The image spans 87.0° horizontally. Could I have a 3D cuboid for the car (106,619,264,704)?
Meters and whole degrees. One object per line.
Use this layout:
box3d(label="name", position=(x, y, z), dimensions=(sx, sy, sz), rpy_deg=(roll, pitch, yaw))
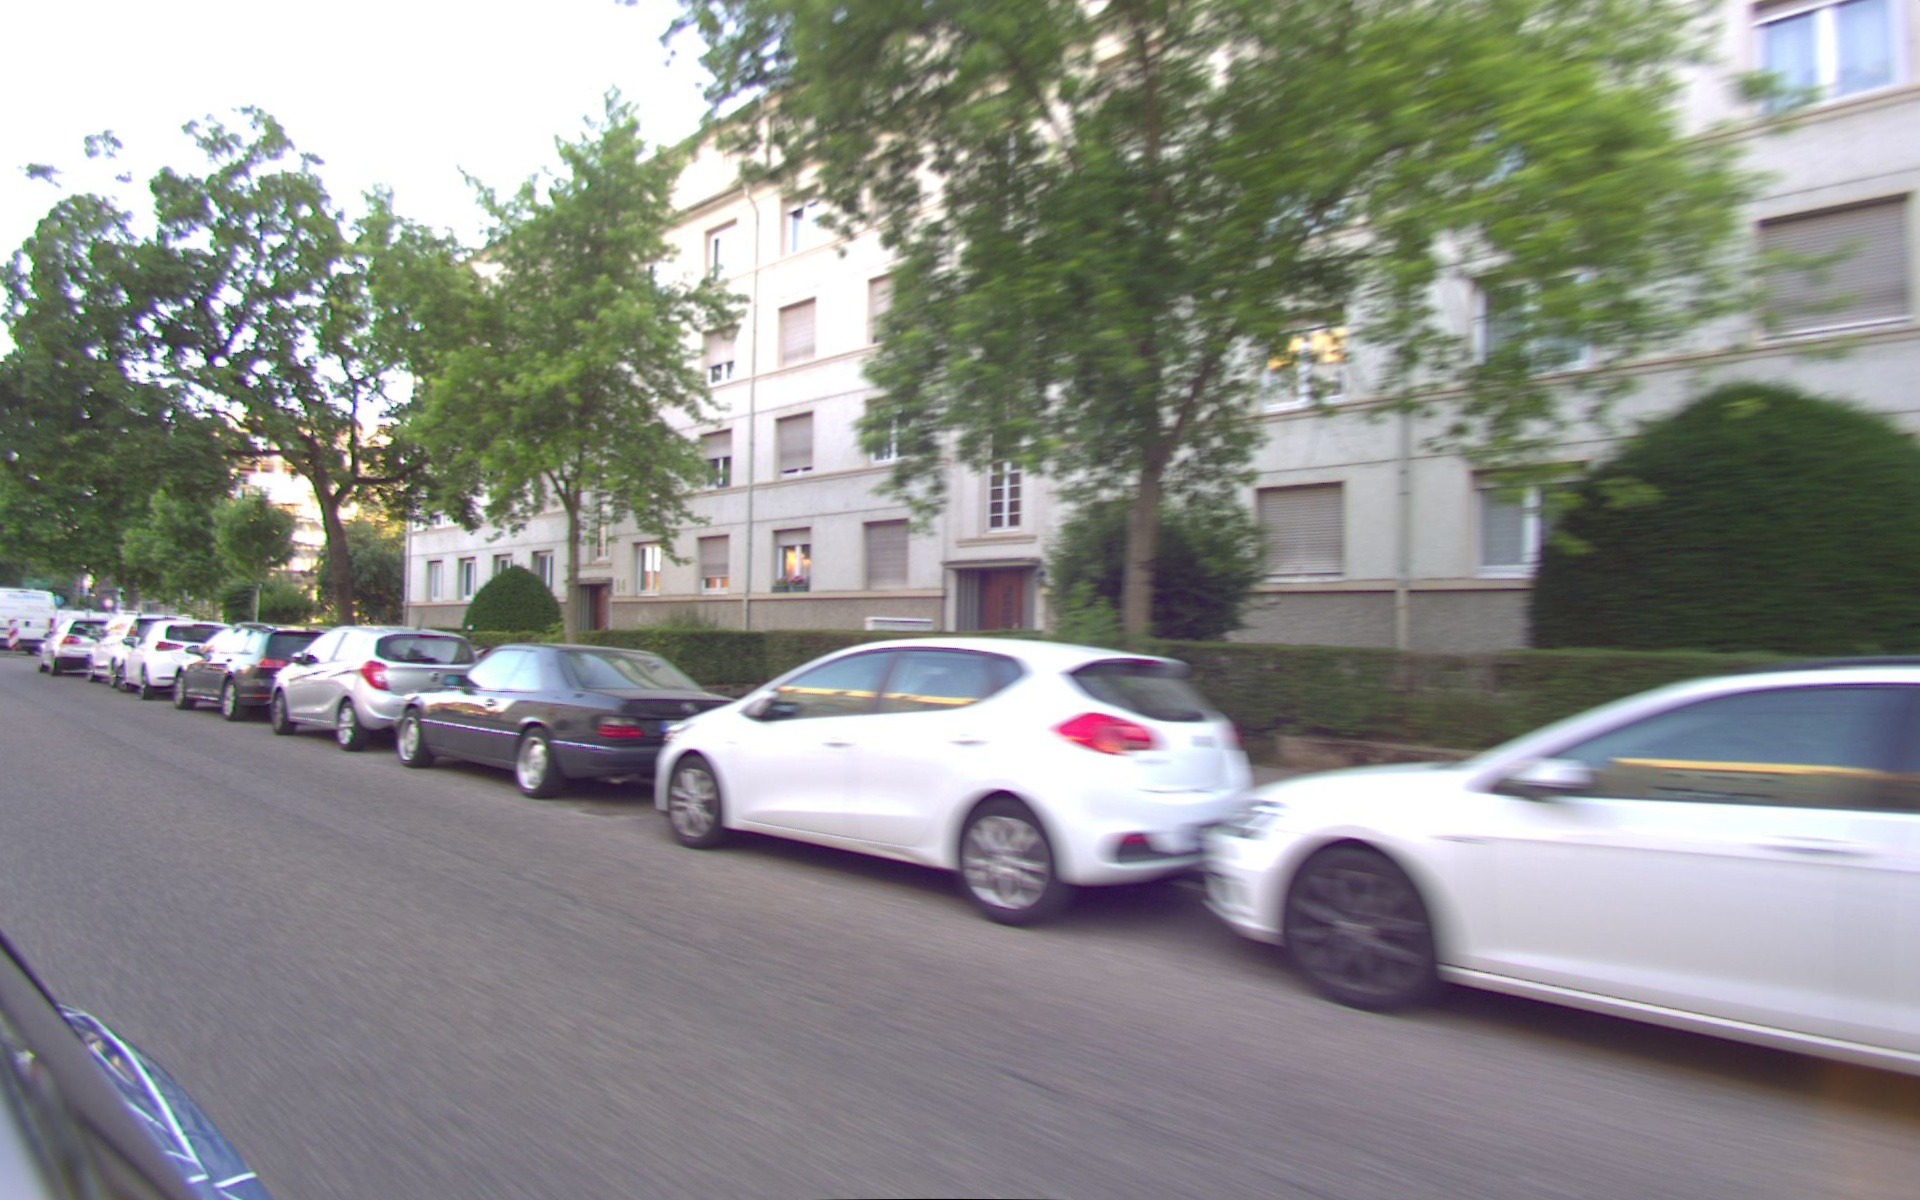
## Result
box3d(label="car", position=(-15.404, 1.196, 20.049), dimensions=(3.944, 1.491, 1.733), rpy_deg=(-1, -6, 43))

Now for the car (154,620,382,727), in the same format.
box3d(label="car", position=(-11.299, 1.137, 16.409), dimensions=(4.674, 1.491, 1.735), rpy_deg=(-1, -6, 40))

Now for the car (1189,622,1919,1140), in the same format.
box3d(label="car", position=(3.251, 0.875, 3.606), dimensions=(4.481, 1.471, 1.674), rpy_deg=(-1, -6, 41))

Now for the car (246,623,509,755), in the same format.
box3d(label="car", position=(-7.652, 1.097, 13.196), dimensions=(3.701, 1.471, 1.658), rpy_deg=(-1, -6, 39))

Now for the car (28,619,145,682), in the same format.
box3d(label="car", position=(-22.992, 1.309, 26.587), dimensions=(4.223, 1.483, 1.733), rpy_deg=(-1, -6, 42))

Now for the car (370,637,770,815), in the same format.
box3d(label="car", position=(-4.032, 1.112, 10.056), dimensions=(4.577, 1.342, 1.657), rpy_deg=(-1, -6, 40))

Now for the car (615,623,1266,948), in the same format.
box3d(label="car", position=(-0.325, 0.952, 6.646), dimensions=(4.141, 1.471, 1.675), rpy_deg=(-1, -6, 39))

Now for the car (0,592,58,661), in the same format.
box3d(label="car", position=(-37.337, 1.031, 39.590), dimensions=(6.100, 2.480, 2.156), rpy_deg=(-1, -6, 41))

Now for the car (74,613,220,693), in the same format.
box3d(label="car", position=(-18.678, 1.192, 23.192), dimensions=(4.104, 1.644, 1.734), rpy_deg=(-1, -6, 40))

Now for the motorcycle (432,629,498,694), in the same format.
box3d(label="motorcycle", position=(-10.671, 1.301, 21.801), dimensions=(1.828, 1.335, 0.580), rpy_deg=(-1, -3, 42))
